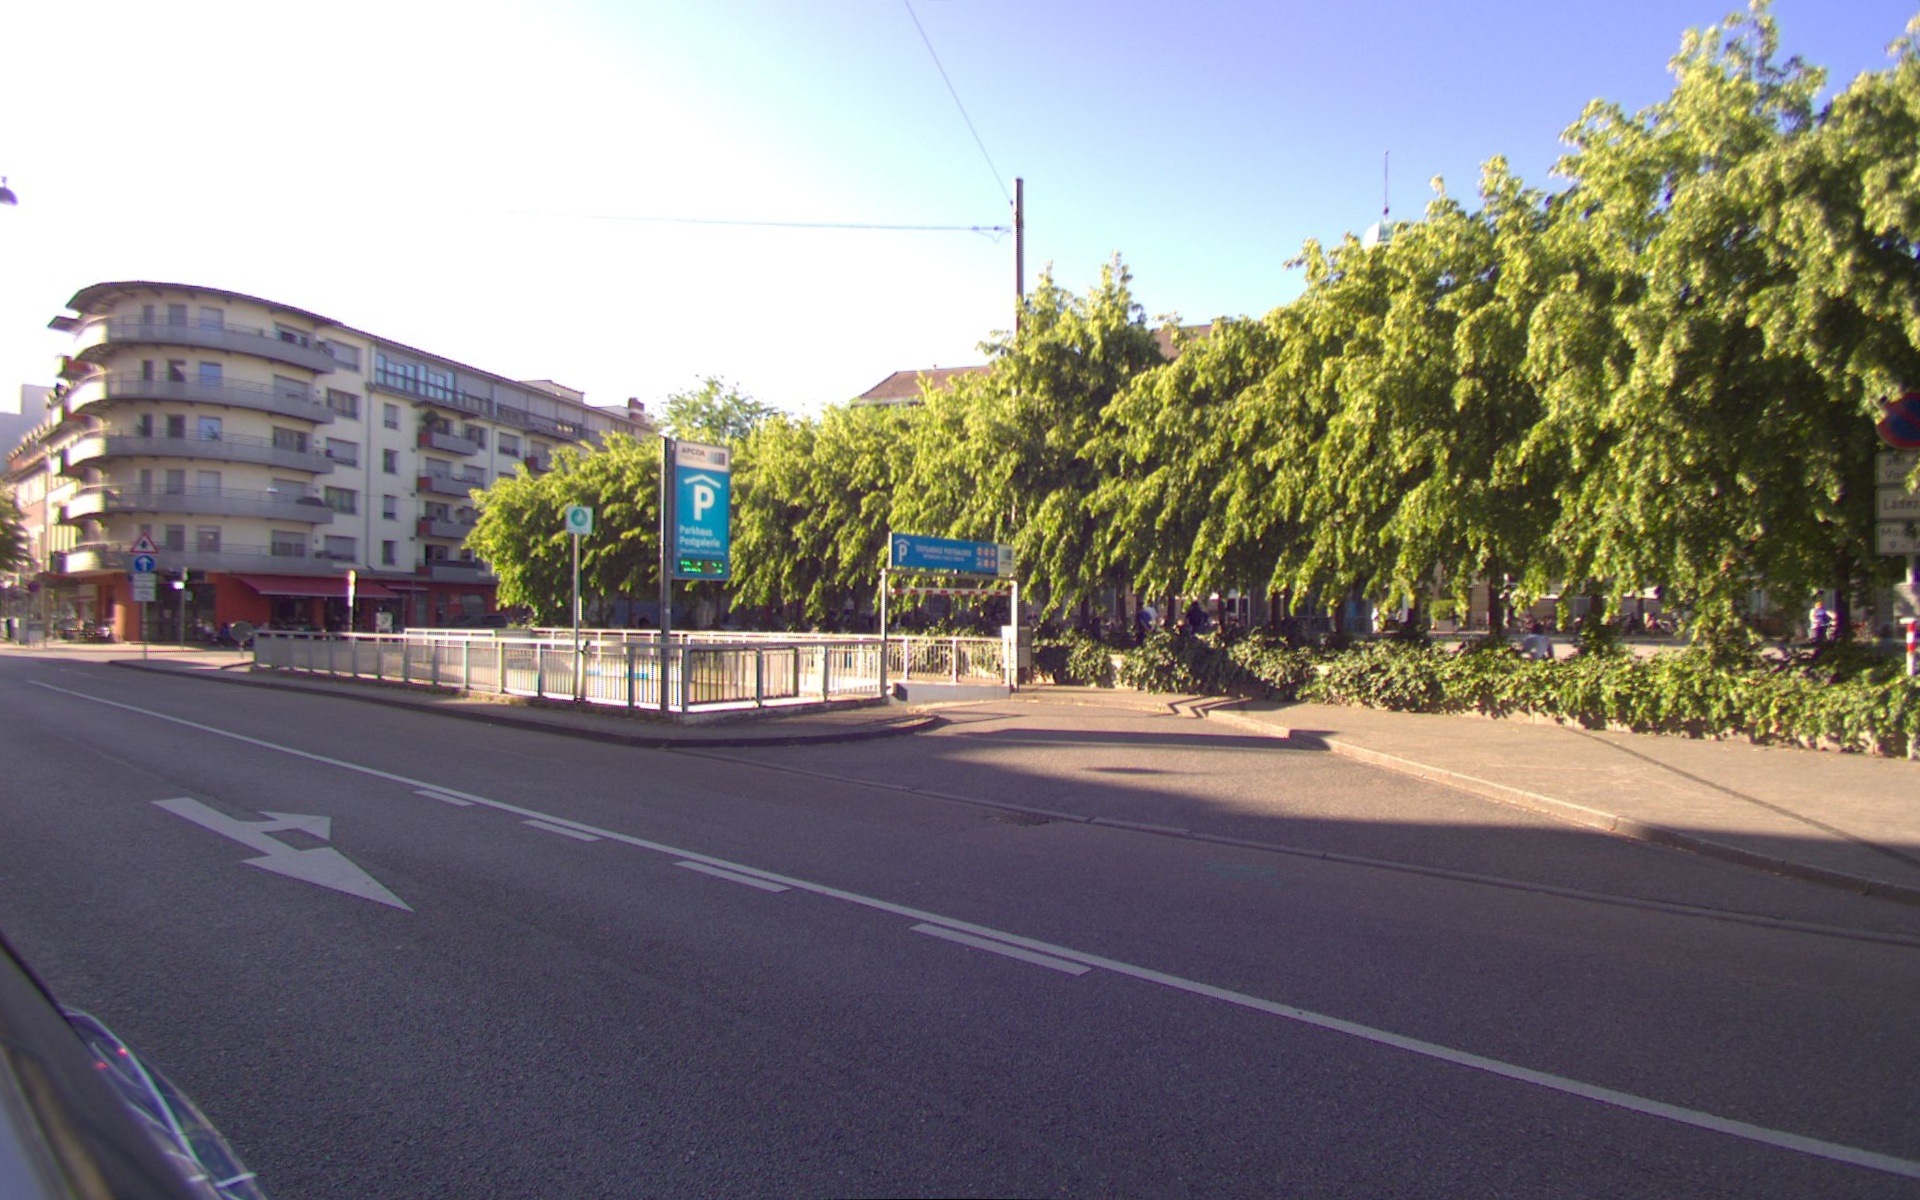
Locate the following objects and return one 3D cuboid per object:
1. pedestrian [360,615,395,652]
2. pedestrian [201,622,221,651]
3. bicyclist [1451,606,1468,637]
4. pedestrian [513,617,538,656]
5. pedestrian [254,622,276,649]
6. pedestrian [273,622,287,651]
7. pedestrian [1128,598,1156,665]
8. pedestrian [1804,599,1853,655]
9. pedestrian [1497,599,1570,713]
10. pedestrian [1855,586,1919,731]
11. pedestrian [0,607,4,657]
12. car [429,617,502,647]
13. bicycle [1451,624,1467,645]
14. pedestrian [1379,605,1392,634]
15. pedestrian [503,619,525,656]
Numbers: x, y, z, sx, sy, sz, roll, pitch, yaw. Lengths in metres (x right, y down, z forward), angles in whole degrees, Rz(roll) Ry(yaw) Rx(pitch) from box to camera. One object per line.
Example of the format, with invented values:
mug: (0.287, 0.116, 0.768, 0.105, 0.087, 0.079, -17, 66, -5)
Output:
pedestrian: (-32.845, 1.879, 57.056, 1.251, 2.029, 1.226, -1, -1, 19)
pedestrian: (-38.220, 1.860, 51.615, 0.780, 1.472, 0.583, 0, -1, -40)
bicyclist: (23.416, 1.025, 47.461, 0.671, 1.439, 0.691, -1, -1, 30)
pedestrian: (-20.407, 1.705, 47.550, 0.753, 1.819, 0.748, -1, -1, 25)
pedestrian: (-37.218, 1.895, 54.185, 0.782, 1.473, 0.582, 0, -1, 3)
pedestrian: (-35.797, 1.893, 53.306, 0.573, 1.501, 0.794, 0, -1, -36)
pedestrian: (4.698, 0.807, 26.124, 0.672, 1.683, 0.843, -1, -1, 13)
pedestrian: (27.776, 0.868, 32.377, 0.889, 1.771, 0.735, -1, -1, 10)
pedestrian: (9.299, 0.883, 16.404, 0.885, 1.771, 0.738, 0, -1, -39)
pedestrian: (11.913, 0.720, 12.794, 0.885, 1.771, 0.738, 0, -1, -39)
pedestrian: (-40.094, 1.316, 41.312, 1.007, 2.029, 1.199, 0, -1, 0)
car: (-31.012, 1.992, 63.620, 1.983, 1.763, 3.978, -1, -1, 17)
bicycle: (23.407, 1.626, 47.460, 0.587, 0.961, 1.887, 0, -3, 29)
pedestrian: (28.404, 1.310, 67.550, 0.751, 1.948, 0.938, 0, -1, 20)
pedestrian: (-20.639, 1.732, 46.881, 0.697, 1.719, 0.667, -1, -1, 33)
